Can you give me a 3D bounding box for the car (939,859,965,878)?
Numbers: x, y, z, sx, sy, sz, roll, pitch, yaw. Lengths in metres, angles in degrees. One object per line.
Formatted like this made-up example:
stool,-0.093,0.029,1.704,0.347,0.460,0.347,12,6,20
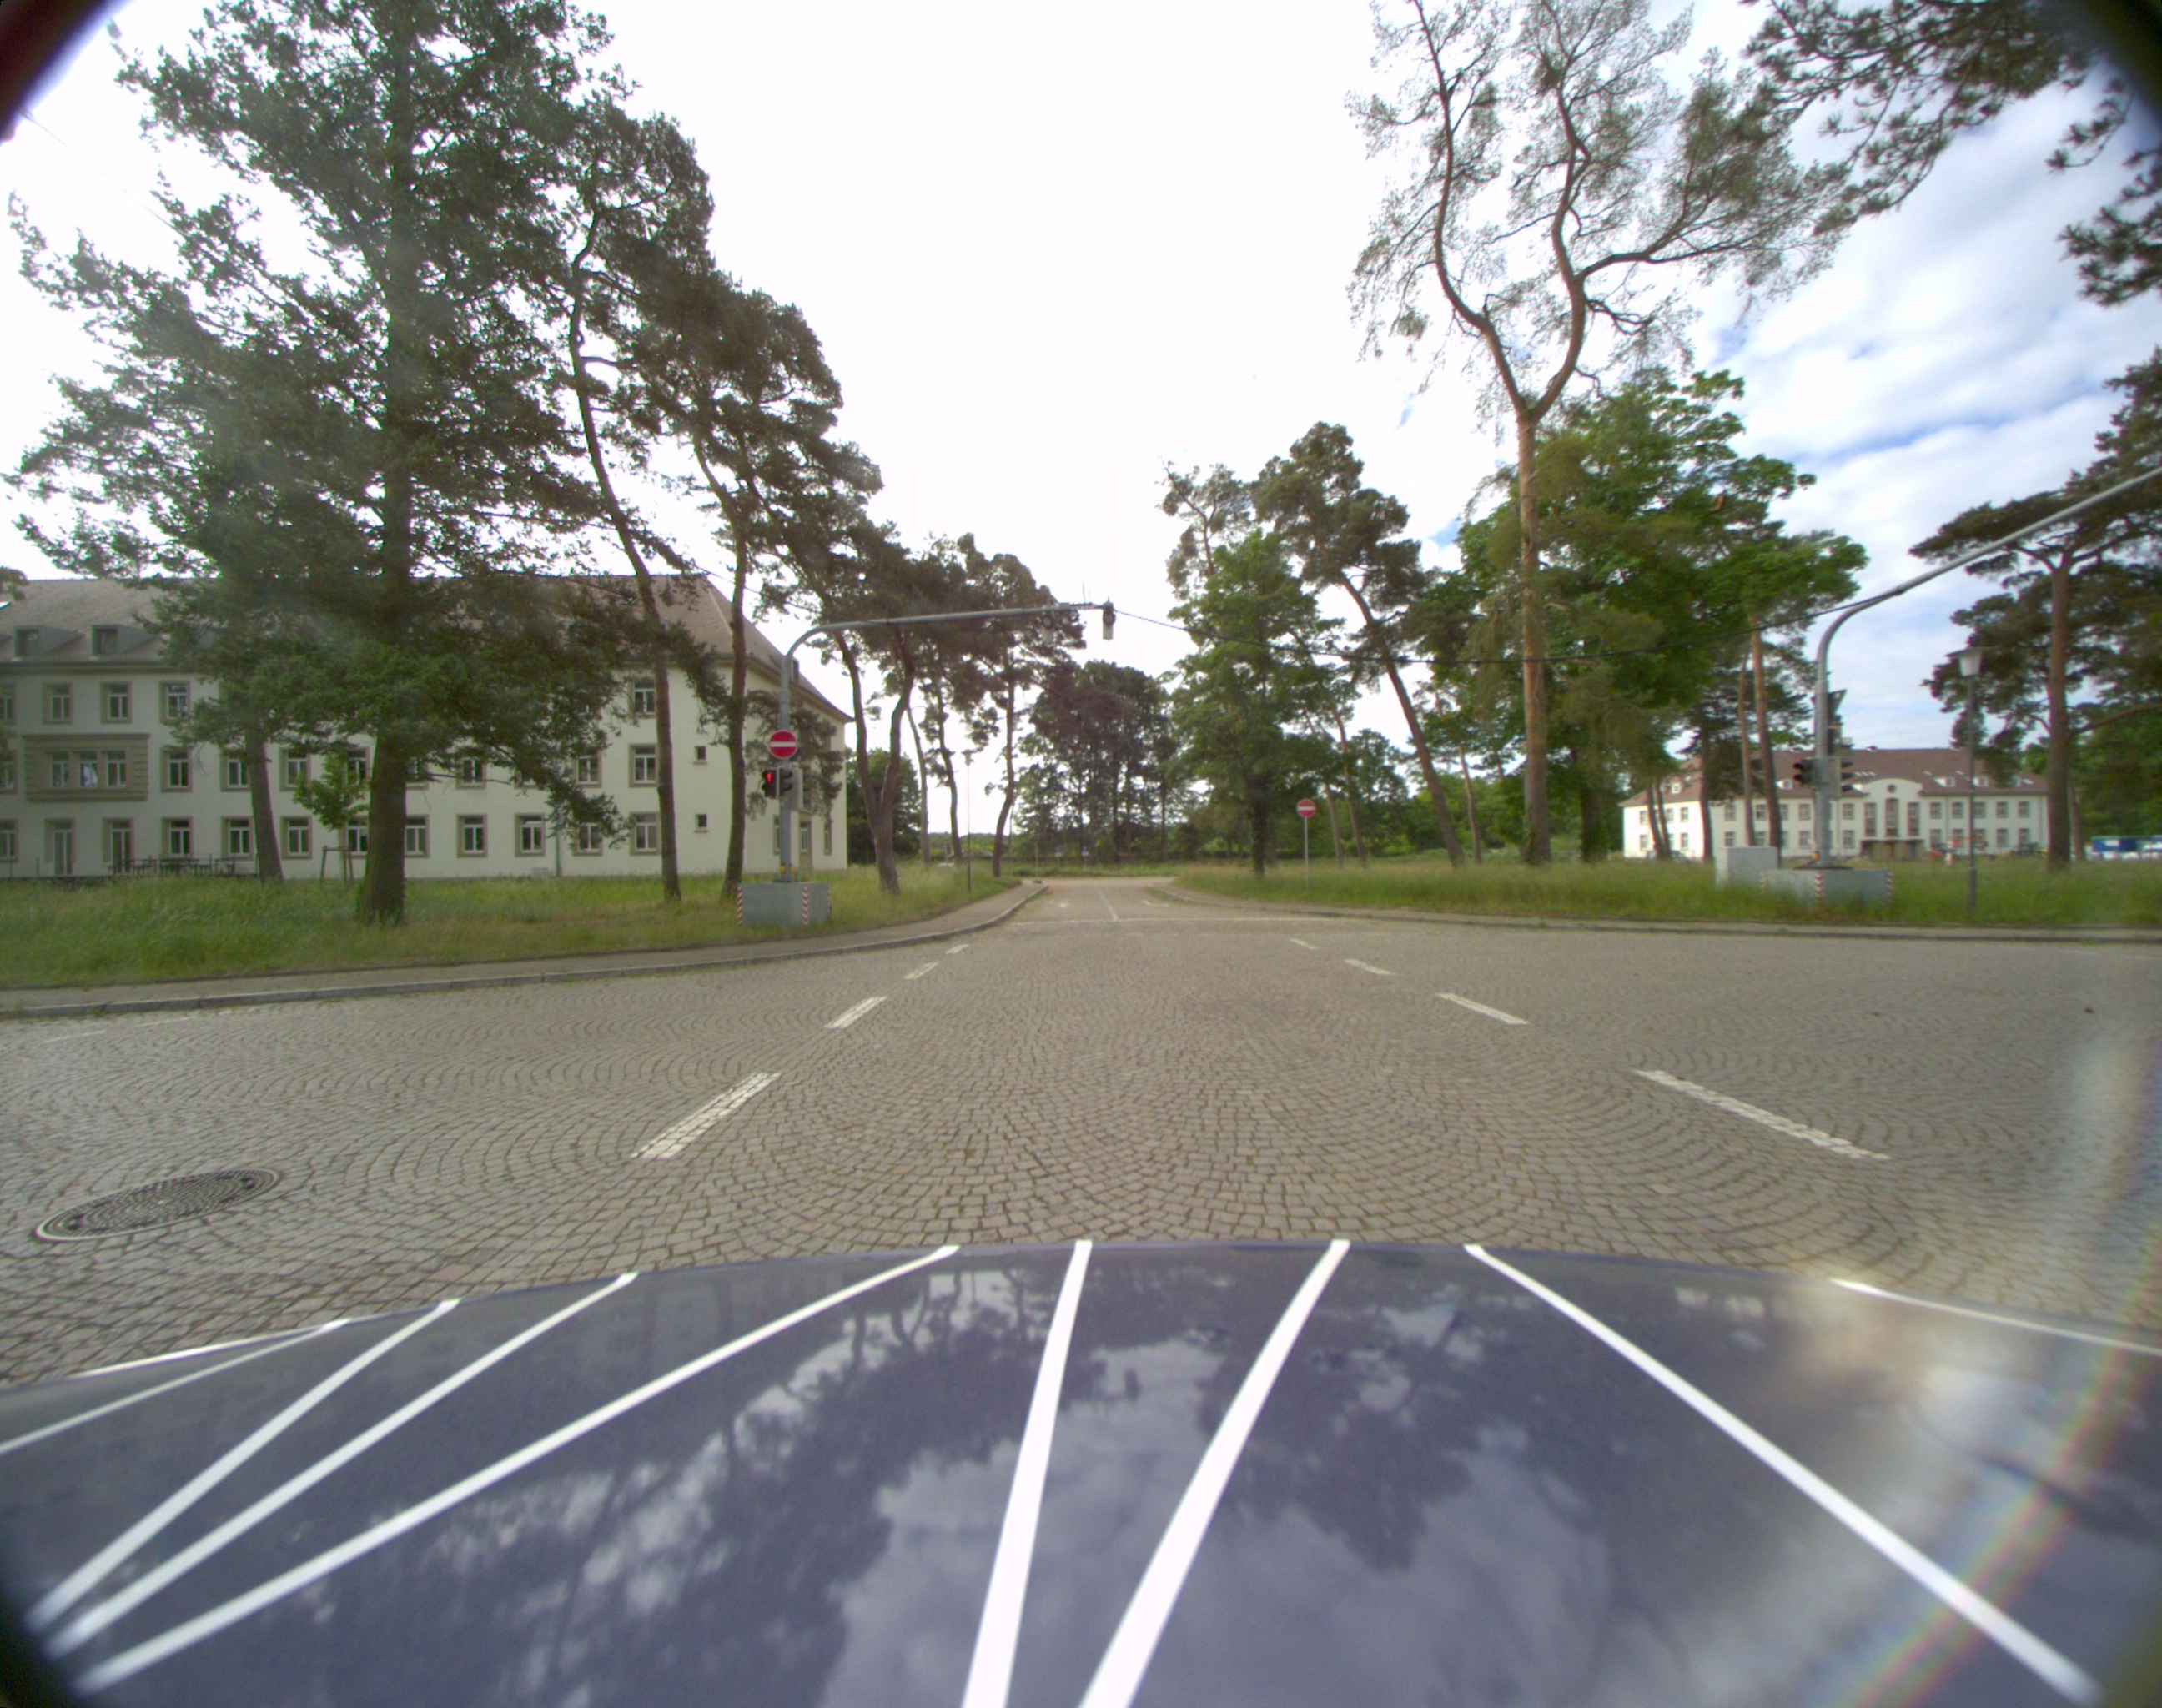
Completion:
car,-11.373,1.269,66.995,1.641,1.426,3.277,-1,2,1
